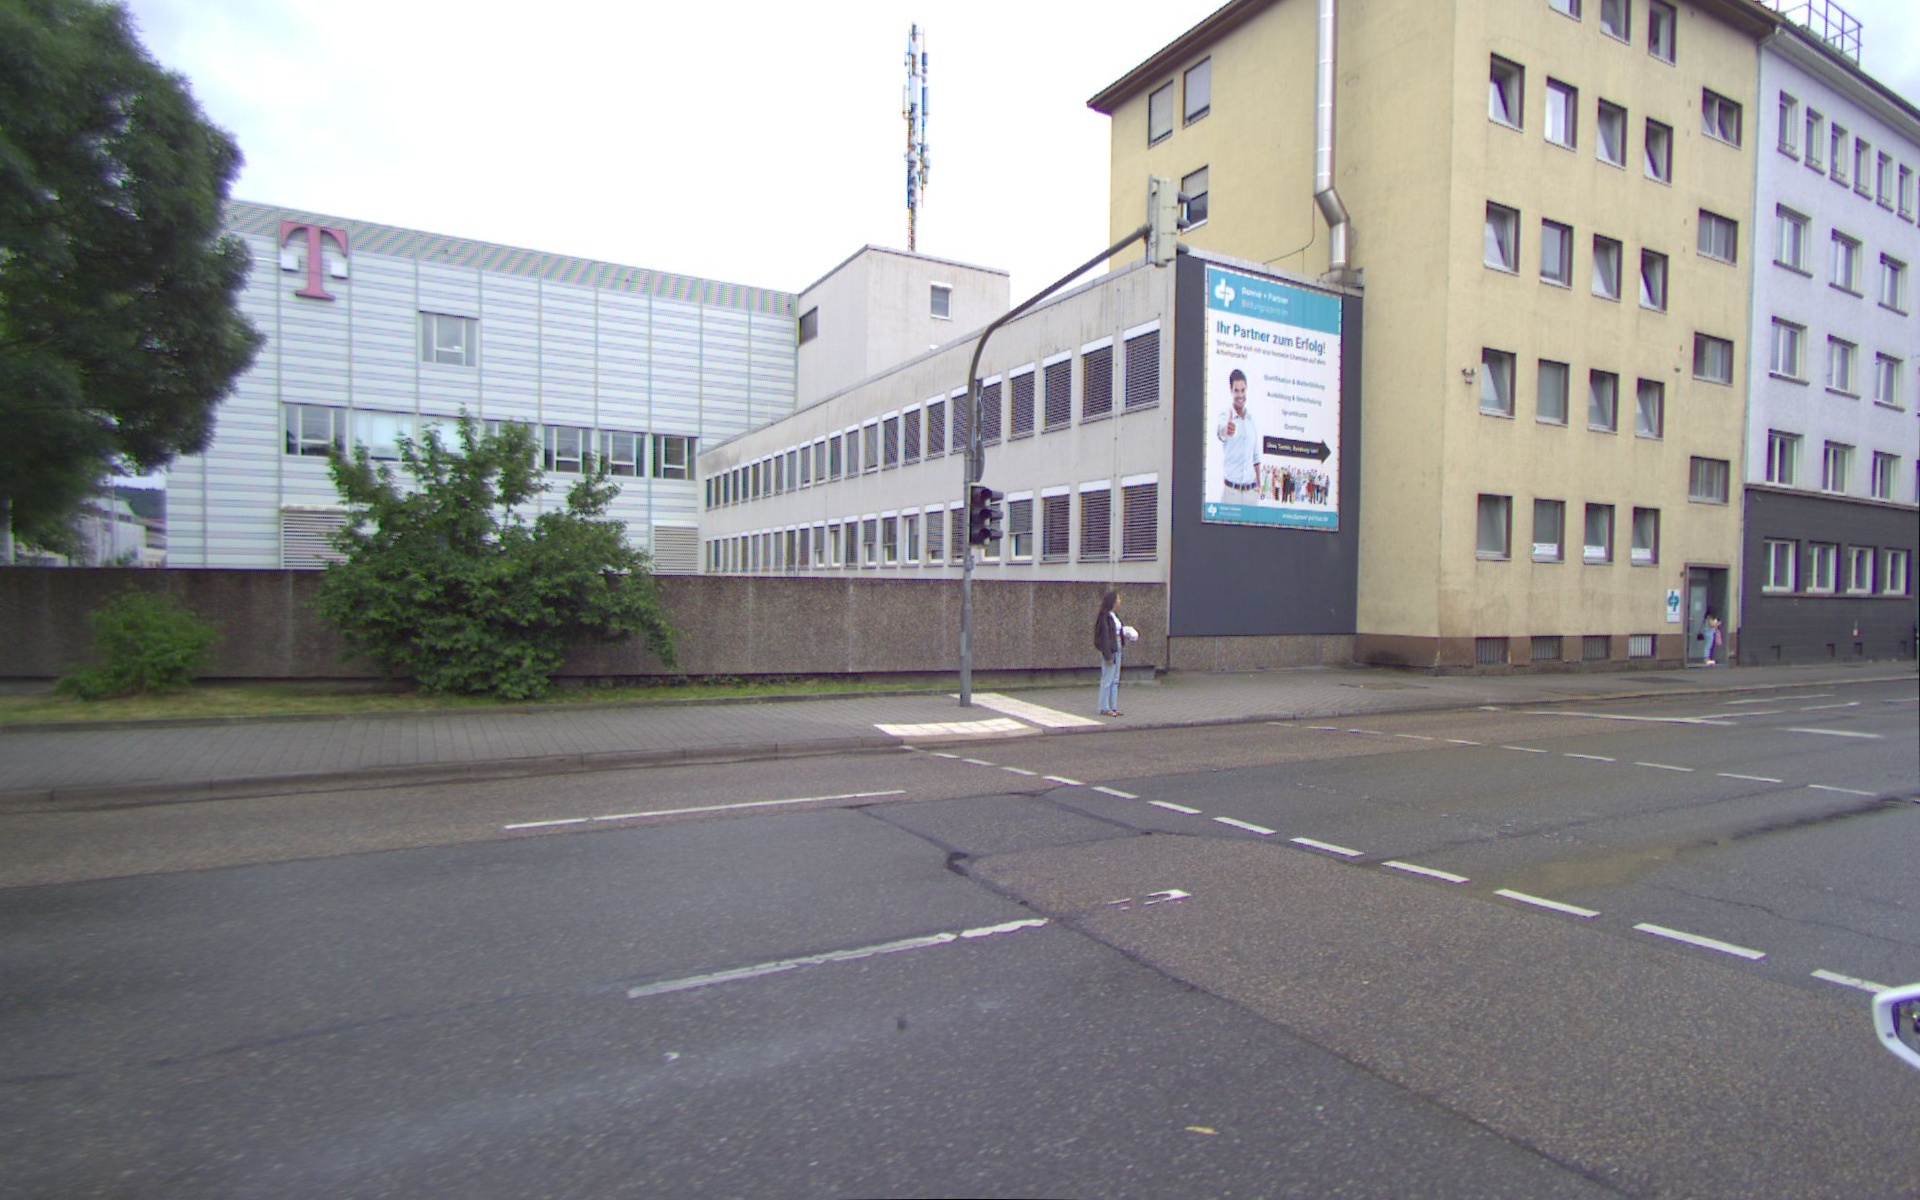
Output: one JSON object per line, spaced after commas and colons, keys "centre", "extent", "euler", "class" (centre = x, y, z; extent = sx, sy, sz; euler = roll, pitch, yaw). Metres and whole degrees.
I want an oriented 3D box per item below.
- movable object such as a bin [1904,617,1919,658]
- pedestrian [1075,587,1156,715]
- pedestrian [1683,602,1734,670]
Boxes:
{"centre": [32.218, 1.257, 33.223], "extent": [1.176, 1.342, 1.071], "euler": [1, 2, -30], "class": "movable object such as a bin"}
{"centre": [2.175, 0.698, 14.120], "extent": [0.801, 1.712, 0.714], "euler": [1, 2, -28], "class": "pedestrian"}
{"centre": [19.661, 0.934, 26.379], "extent": [0.801, 1.712, 0.714], "euler": [1, 2, -28], "class": "pedestrian"}
